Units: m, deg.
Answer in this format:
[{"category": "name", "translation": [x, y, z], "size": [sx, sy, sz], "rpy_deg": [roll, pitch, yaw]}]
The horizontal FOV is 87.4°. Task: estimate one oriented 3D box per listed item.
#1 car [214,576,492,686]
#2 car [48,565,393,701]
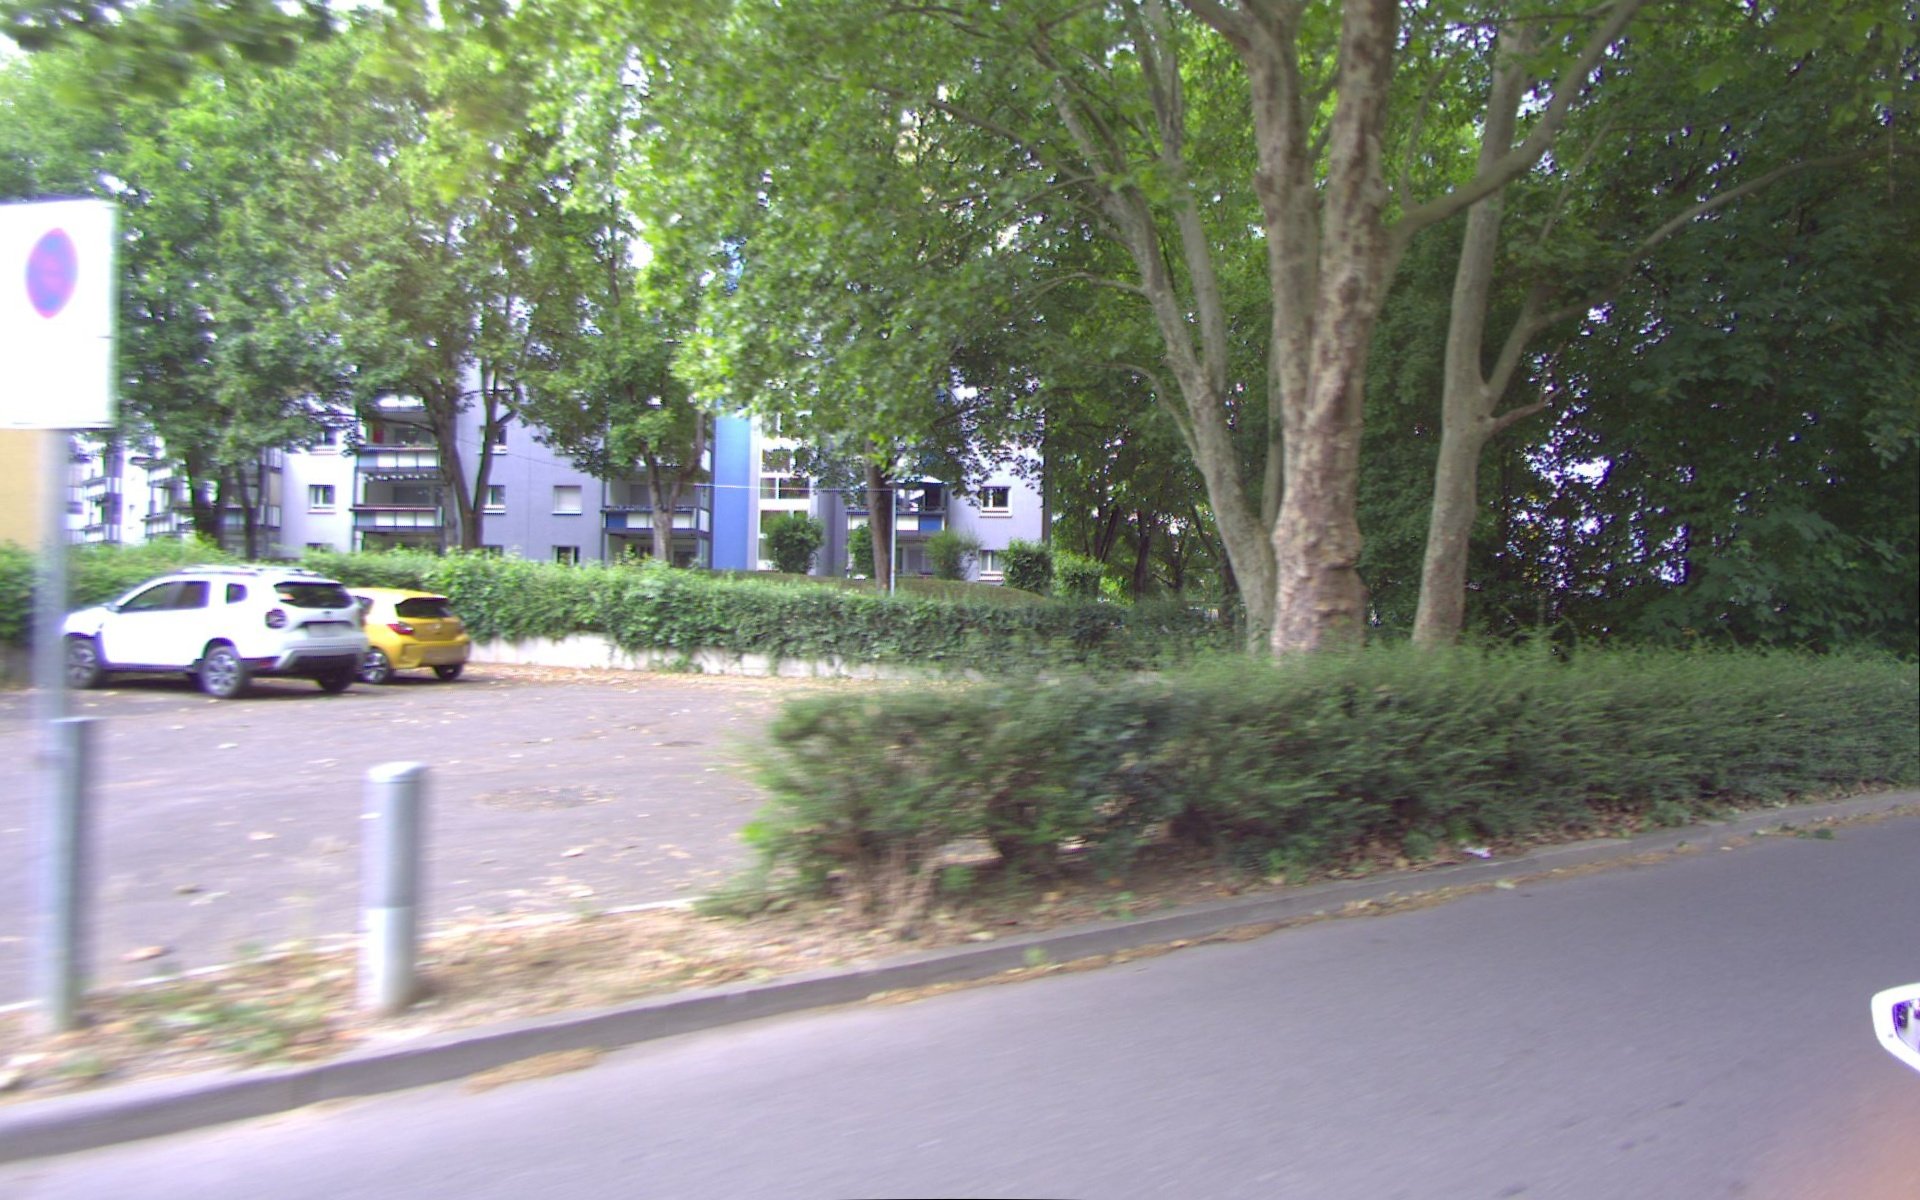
[{"category": "car", "translation": [-10.088, 0.480, 16.750], "size": [3.920, 1.632, 1.750], "rpy_deg": [1, -1, 16]}, {"category": "car", "translation": [-10.356, 0.412, 14.131], "size": [4.033, 1.670, 1.808], "rpy_deg": [1, -1, 16]}]
